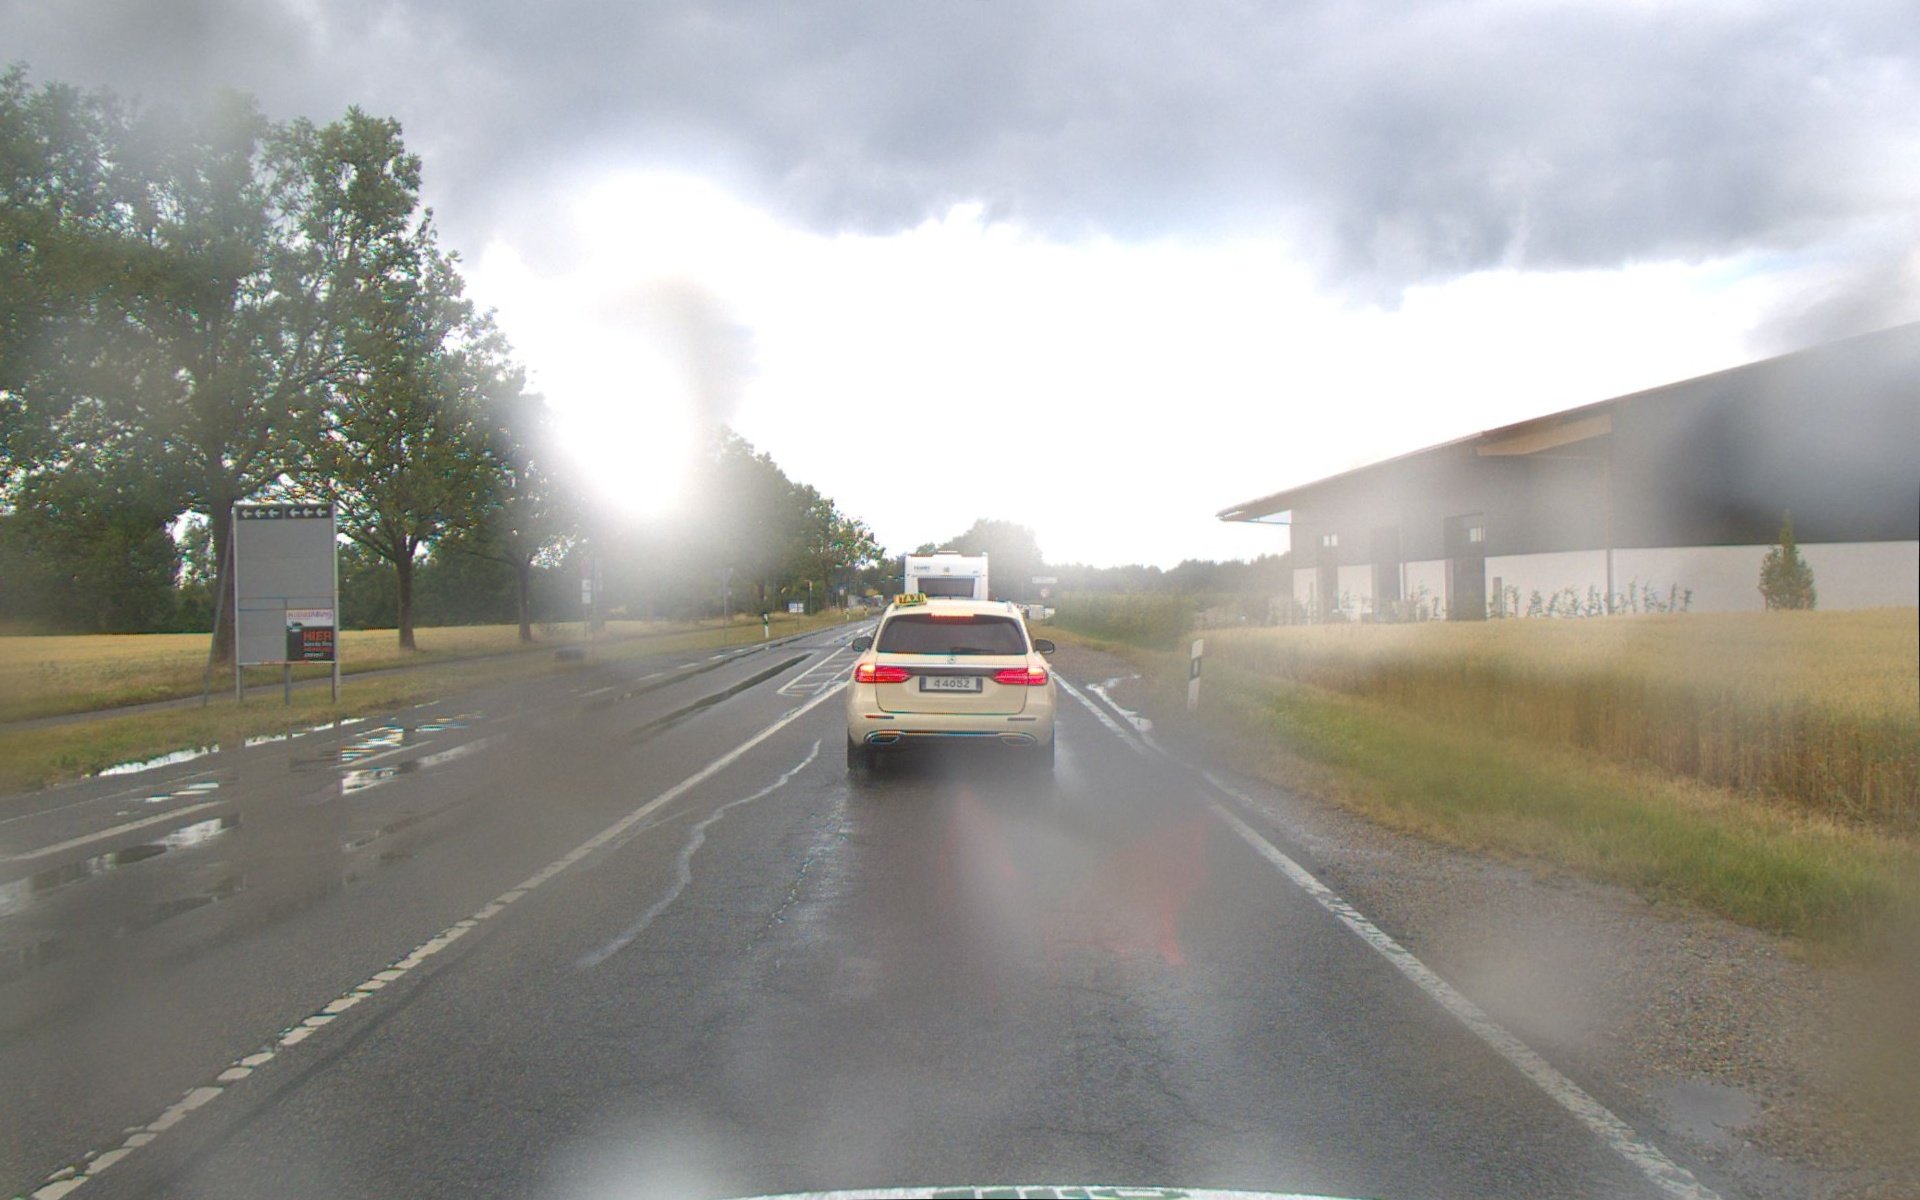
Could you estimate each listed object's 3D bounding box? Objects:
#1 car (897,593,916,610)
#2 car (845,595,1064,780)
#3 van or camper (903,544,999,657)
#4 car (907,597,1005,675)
[{"bbox_3d":[-5.656,0.161,174.628,1.877,1.660,4.356,-3,0,-1],"label":"car"},{"bbox_3d":[-0.041,0.697,15.327,1.760,1.490,4.030,0,0,0],"label":"car"},{"bbox_3d":[-0.220,0.005,46.566,2.446,2.880,5.934,-2,0,0],"label":"van or camper"},{"bbox_3d":[-0.107,0.672,33.218,1.856,1.454,3.927,0,0,-1],"label":"car"}]
